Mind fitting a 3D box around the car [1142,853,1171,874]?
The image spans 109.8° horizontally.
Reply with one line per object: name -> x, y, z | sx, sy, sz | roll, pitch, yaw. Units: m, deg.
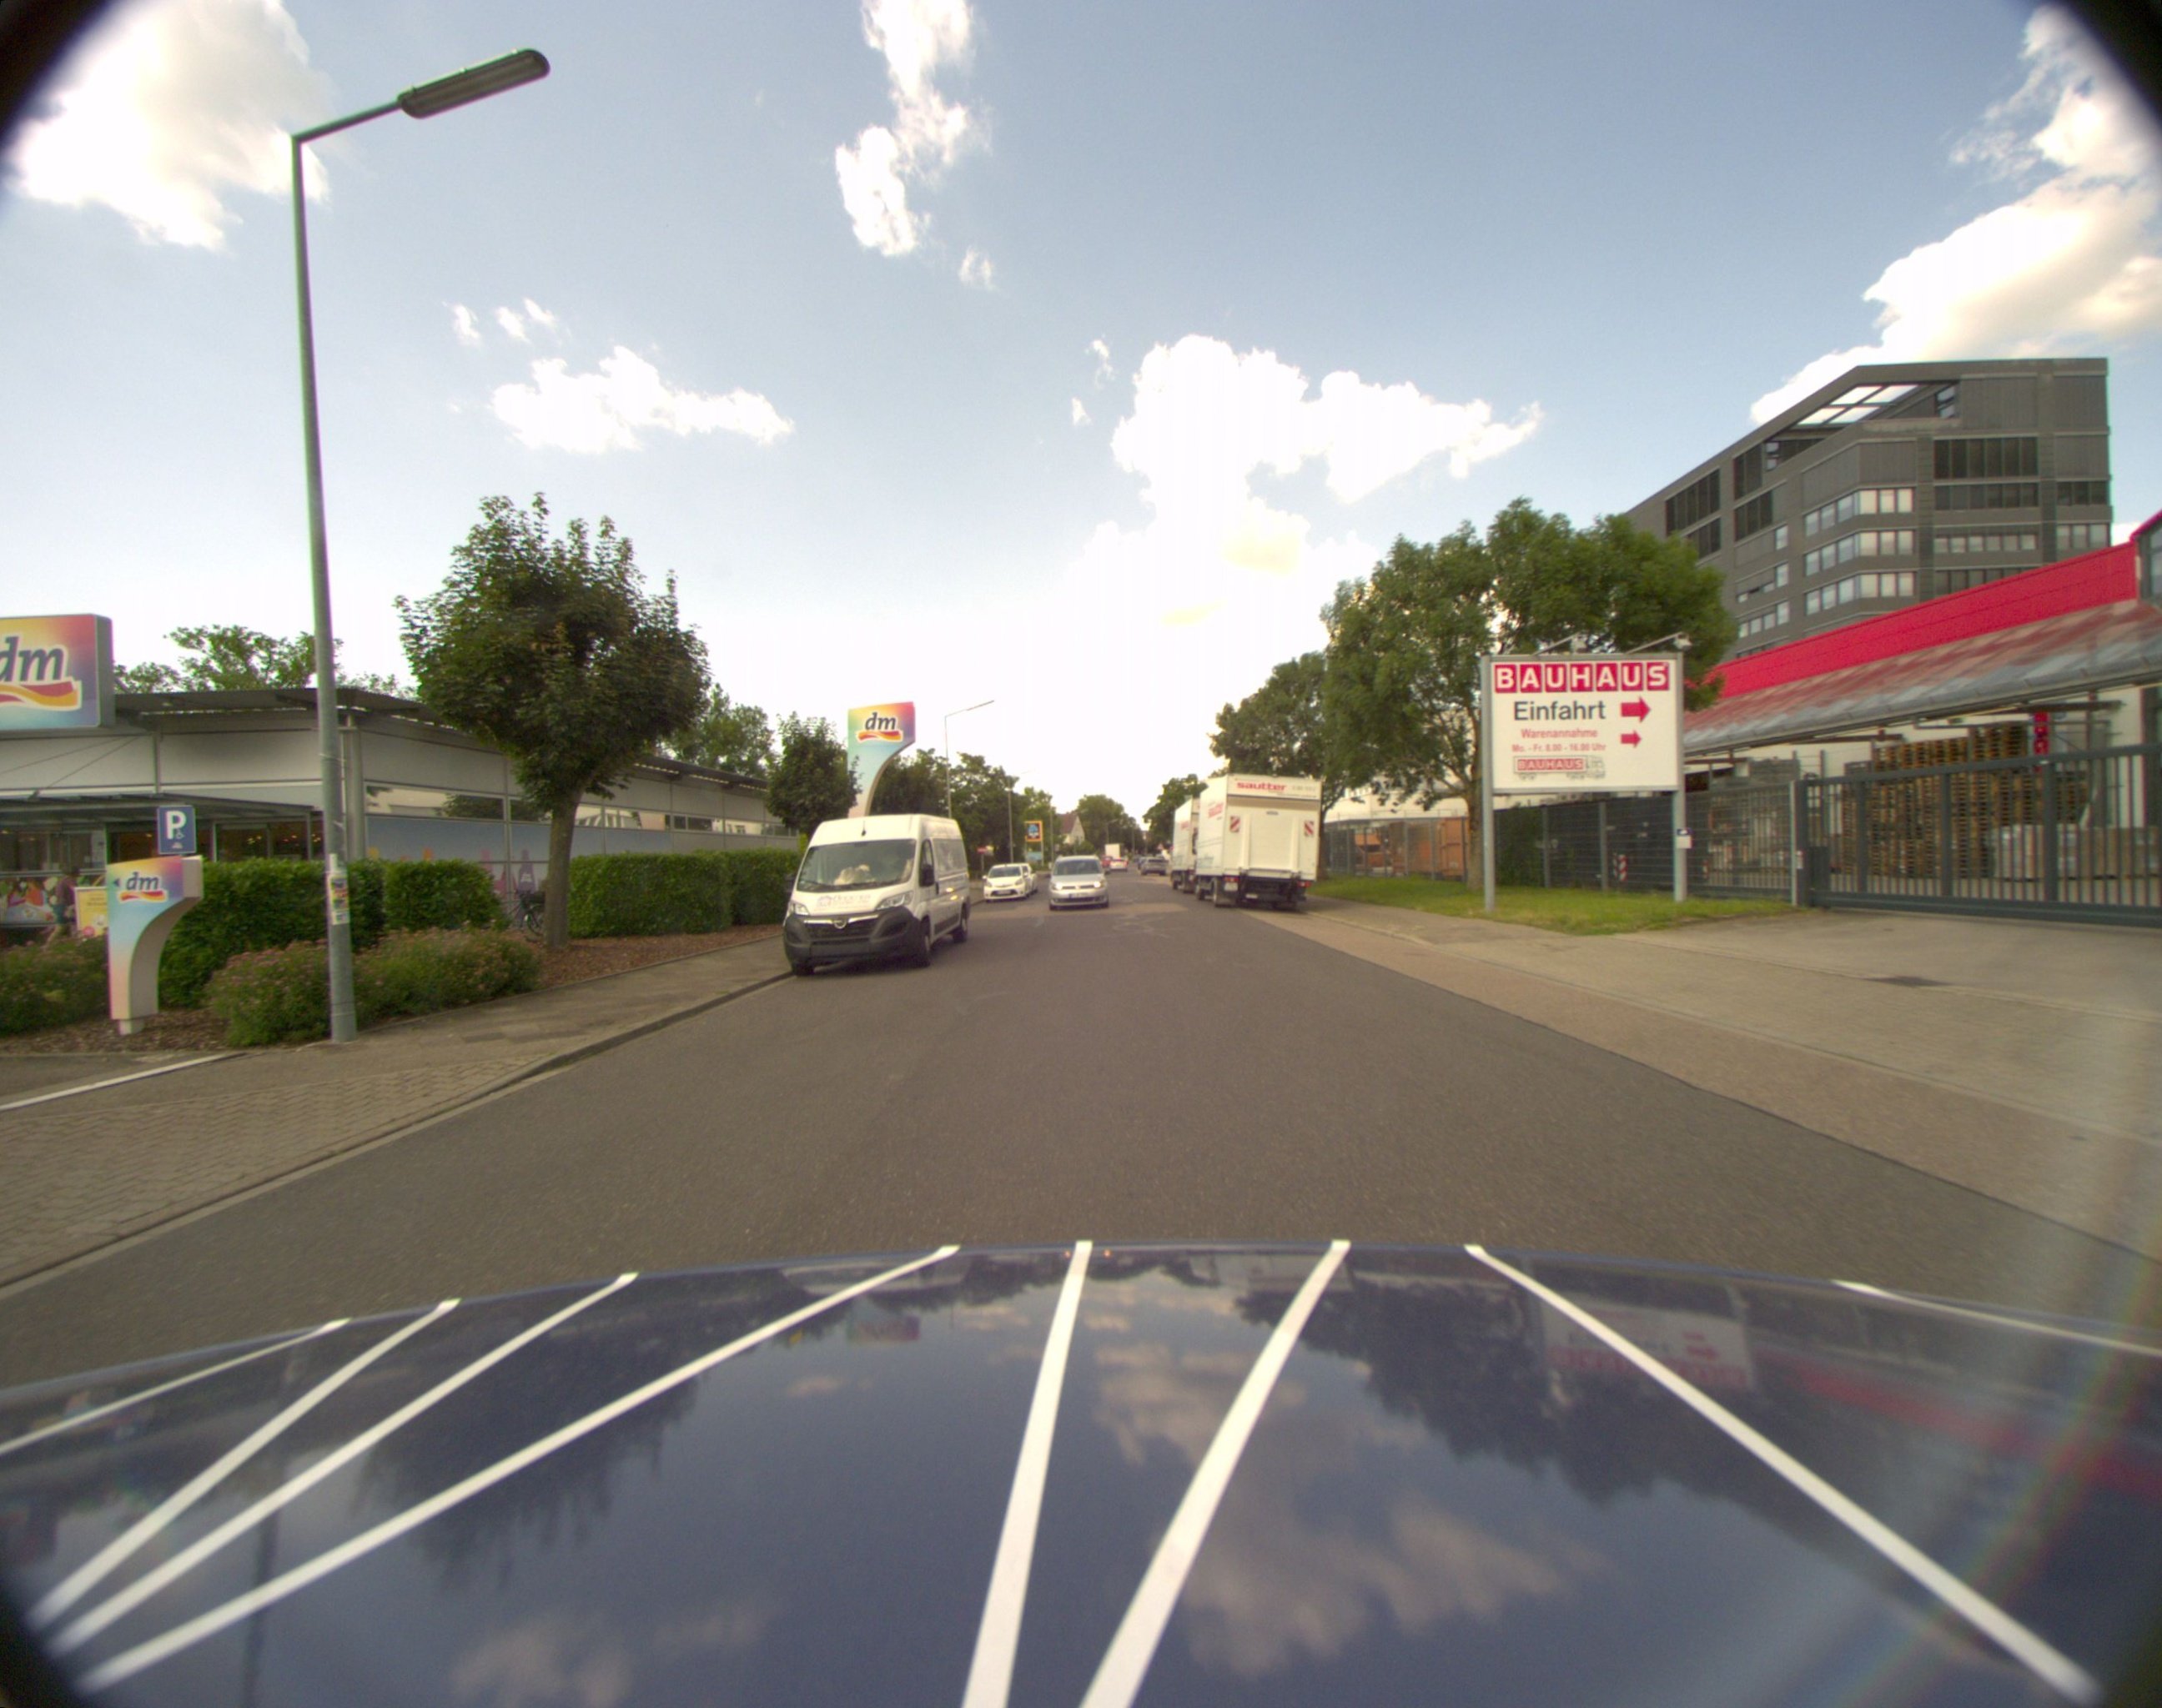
car -> 6.249, 0.775, 63.310 | 1.982, 1.565, 4.000 | -2, 0, 1

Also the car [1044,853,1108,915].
car -> -0.054, 0.848, 23.886 | 1.744, 1.674, 4.592 | -3, 0, 2

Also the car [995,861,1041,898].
car -> -2.862, 1.124, 35.192 | 1.698, 1.448, 3.705 | -4, 0, 1

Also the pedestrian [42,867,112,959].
pedestrian -> -18.985, 1.105, 14.384 | 0.528, 1.690, 0.546 | -2, 1, 1

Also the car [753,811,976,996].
car -> -3.340, 0.677, 13.138 | 2.057, 2.395, 5.454 | -4, 0, 1

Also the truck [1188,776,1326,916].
truck -> 5.198, -0.259, 23.837 | 2.754, 3.701, 7.171 | 0, 1, 1

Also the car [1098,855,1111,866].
car -> 3.302, 0.903, 107.388 | 1.856, 1.467, 4.000 | -2, 0, 1

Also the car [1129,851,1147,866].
car -> 6.527, 0.496, 87.379 | 1.852, 1.565, 4.000 | -2, 0, 1

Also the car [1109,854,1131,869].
car -> 3.964, 0.753, 77.528 | 1.982, 1.467, 4.000 | -2, 0, 1

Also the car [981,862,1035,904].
car -> -2.906, 1.120, 30.977 | 1.698, 1.448, 3.549 | -4, 0, 1

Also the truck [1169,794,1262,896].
truck -> 5.440, -0.342, 32.031 | 2.754, 3.787, 7.172 | 0, 0, 1

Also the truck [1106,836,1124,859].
truck -> 6.316, -1.226, 143.758 | 2.979, 4.132, 9.667 | -2, 0, 1
